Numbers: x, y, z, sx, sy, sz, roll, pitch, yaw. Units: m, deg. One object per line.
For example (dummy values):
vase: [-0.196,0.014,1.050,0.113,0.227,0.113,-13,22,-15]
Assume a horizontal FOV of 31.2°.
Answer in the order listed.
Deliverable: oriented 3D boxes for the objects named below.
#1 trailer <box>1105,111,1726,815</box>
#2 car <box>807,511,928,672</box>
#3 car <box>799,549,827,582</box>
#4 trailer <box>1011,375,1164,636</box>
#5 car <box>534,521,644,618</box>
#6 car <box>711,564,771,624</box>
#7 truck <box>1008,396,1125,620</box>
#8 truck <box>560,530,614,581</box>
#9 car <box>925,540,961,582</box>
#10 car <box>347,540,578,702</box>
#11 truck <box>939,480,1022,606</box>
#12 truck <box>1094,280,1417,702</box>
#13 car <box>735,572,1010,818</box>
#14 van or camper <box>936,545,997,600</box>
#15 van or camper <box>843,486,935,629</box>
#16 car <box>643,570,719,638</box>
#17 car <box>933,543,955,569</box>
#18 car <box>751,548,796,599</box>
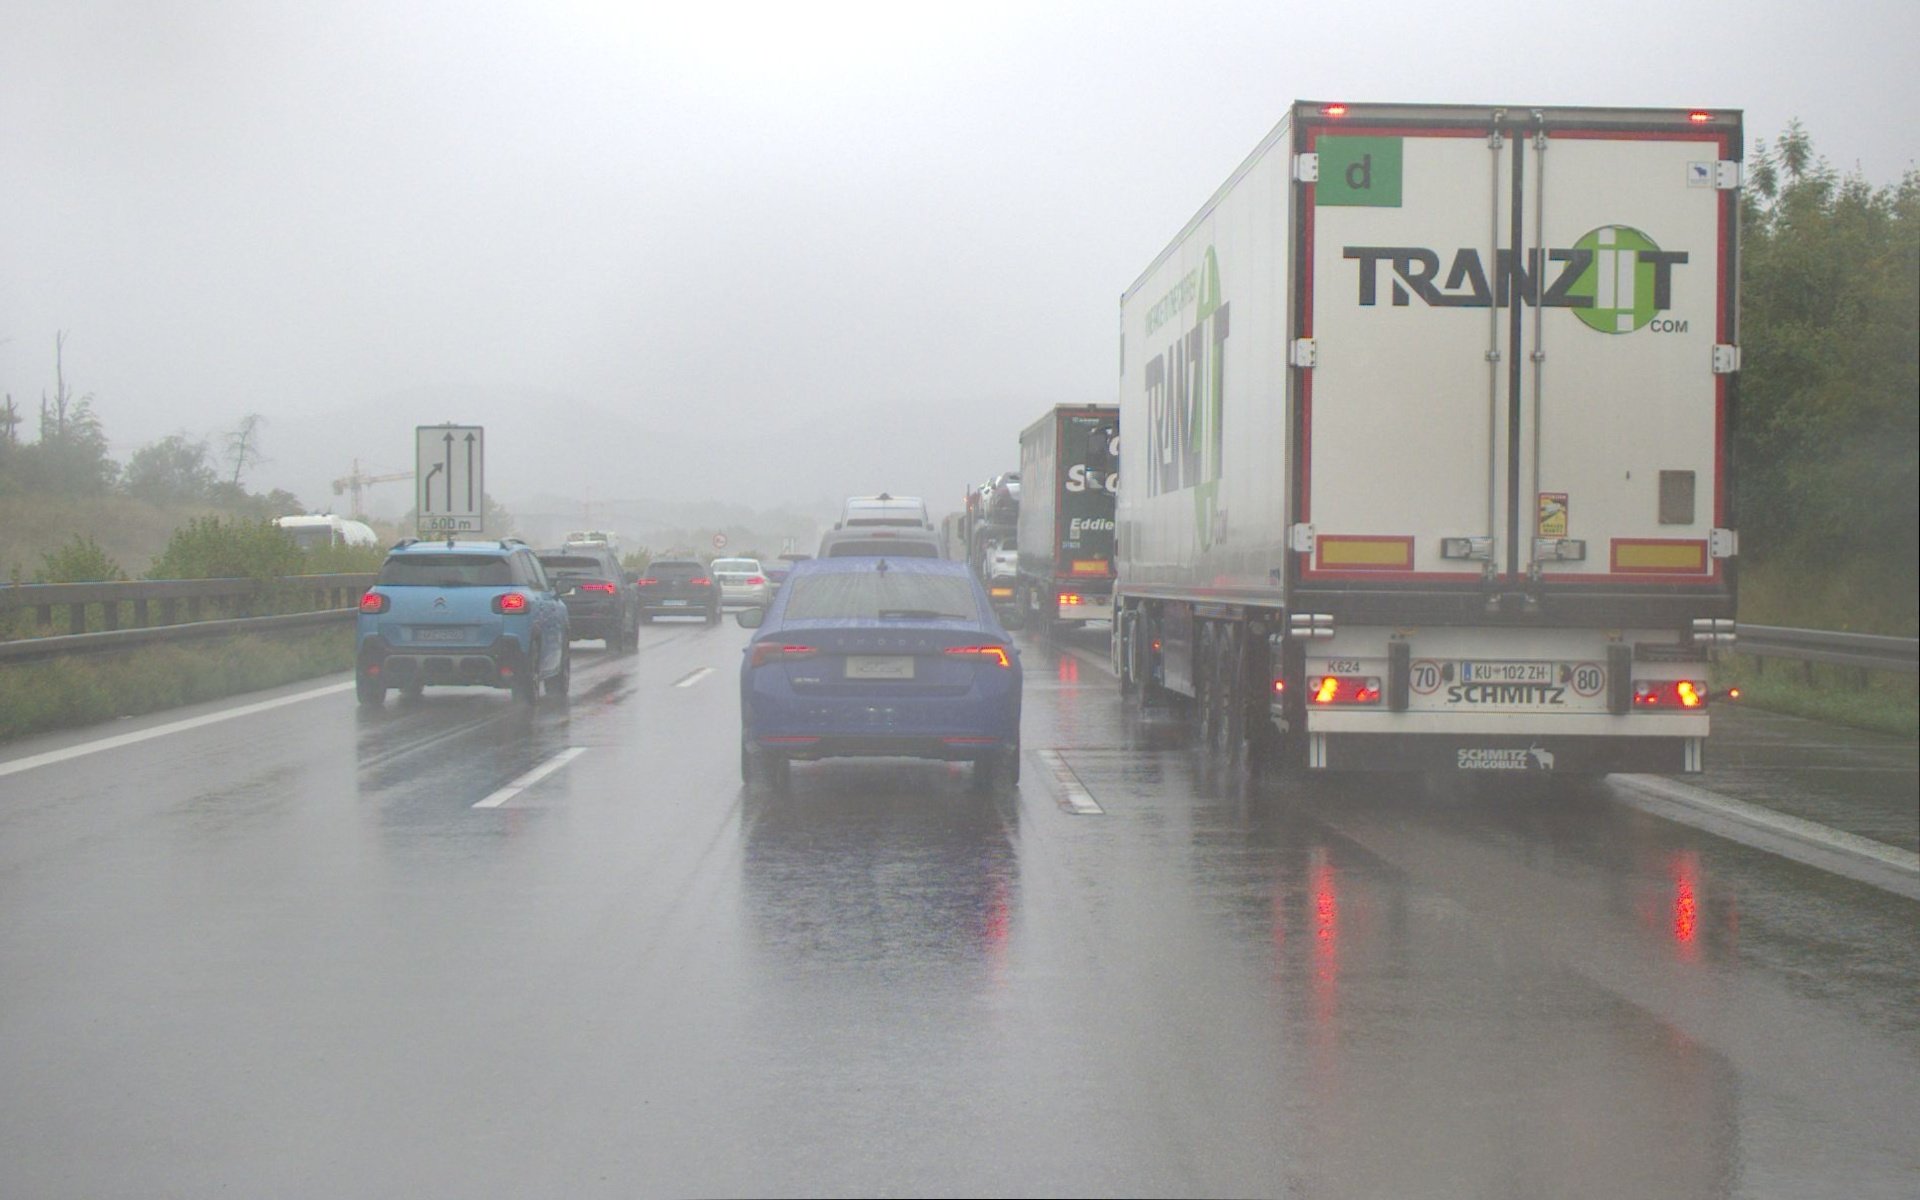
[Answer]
trailer: [2.906,-0.916,26.922,2.630,3.999,14.630,0,1,-1]
car: [-1.056,-0.126,39.671,1.336,1.773,3.322,0,1,-1]
car: [-7.988,-1.868,187.276,1.448,1.777,3.409,1,1,-1]
trailer: [2.123,-1.624,60.700,2.047,4.162,11.449,0,1,-1]
car: [-5.593,-0.482,52.082,1.359,1.426,3.364,0,1,-1]
car: [-5.782,-0.174,91.056,1.439,1.528,3.322,0,1,-1]
truck: [2.016,-1.761,66.266,2.047,4.178,4.000,0,1,-1]
truck: [-20.693,-2.459,190.920,2.481,2.710,4.528,-2,0,0]
car: [-0.734,-1.656,146.196,1.448,1.777,3.409,1,1,-1]
car: [-4.887,0.169,34.247,1.721,1.518,4.000,0,1,0]
truck: [0.531,-1.659,97.768,1.993,3.410,8.033,0,1,-2]
truck: [2.769,-1.033,33.554,2.630,3.814,4.791,0,1,-1]
car: [-0.533,0.552,22.538,1.635,1.440,4.000,0,1,0]
van or camper: [0.185,-0.879,107.558,1.771,1.619,4.484,0,1,-1]
van or camper: [-1.438,-0.878,70.022,1.797,2.797,4.768,0,1,-1]
car: [-6.077,0.074,75.044,1.439,1.415,3.322,0,1,-1]
car: [-1.081,-3.000,234.510,1.448,1.777,3.409,1,1,-1]
car: [-6.639,-0.944,122.586,1.448,1.777,3.409,1,1,-1]
